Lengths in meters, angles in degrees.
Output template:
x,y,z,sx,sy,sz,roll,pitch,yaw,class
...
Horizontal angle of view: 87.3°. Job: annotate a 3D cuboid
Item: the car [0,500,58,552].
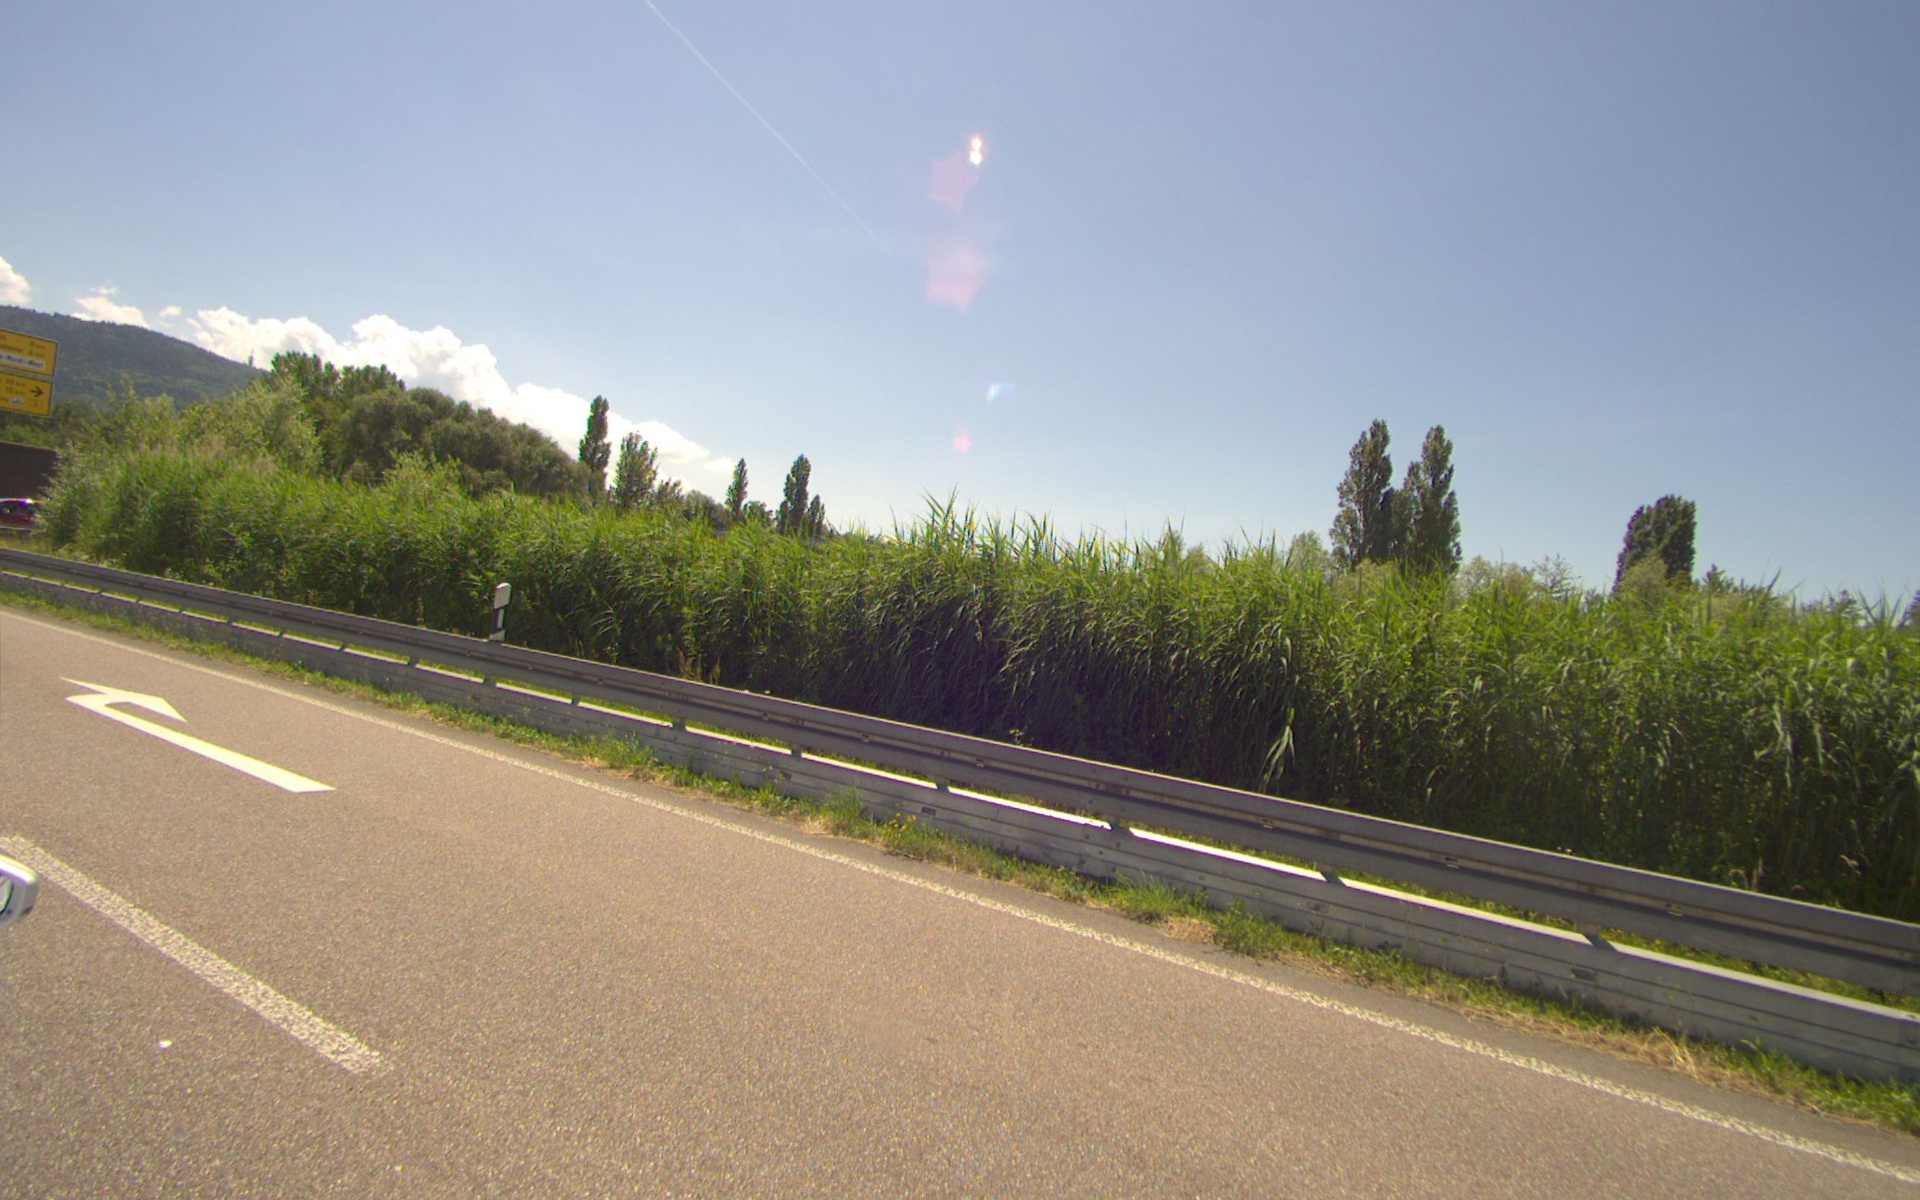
x,y,z,sx,sy,sz,roll,pitch,yaw,class
-36.336,-2.952,36.894,1.966,1.676,4.320,7,-2,28,car
